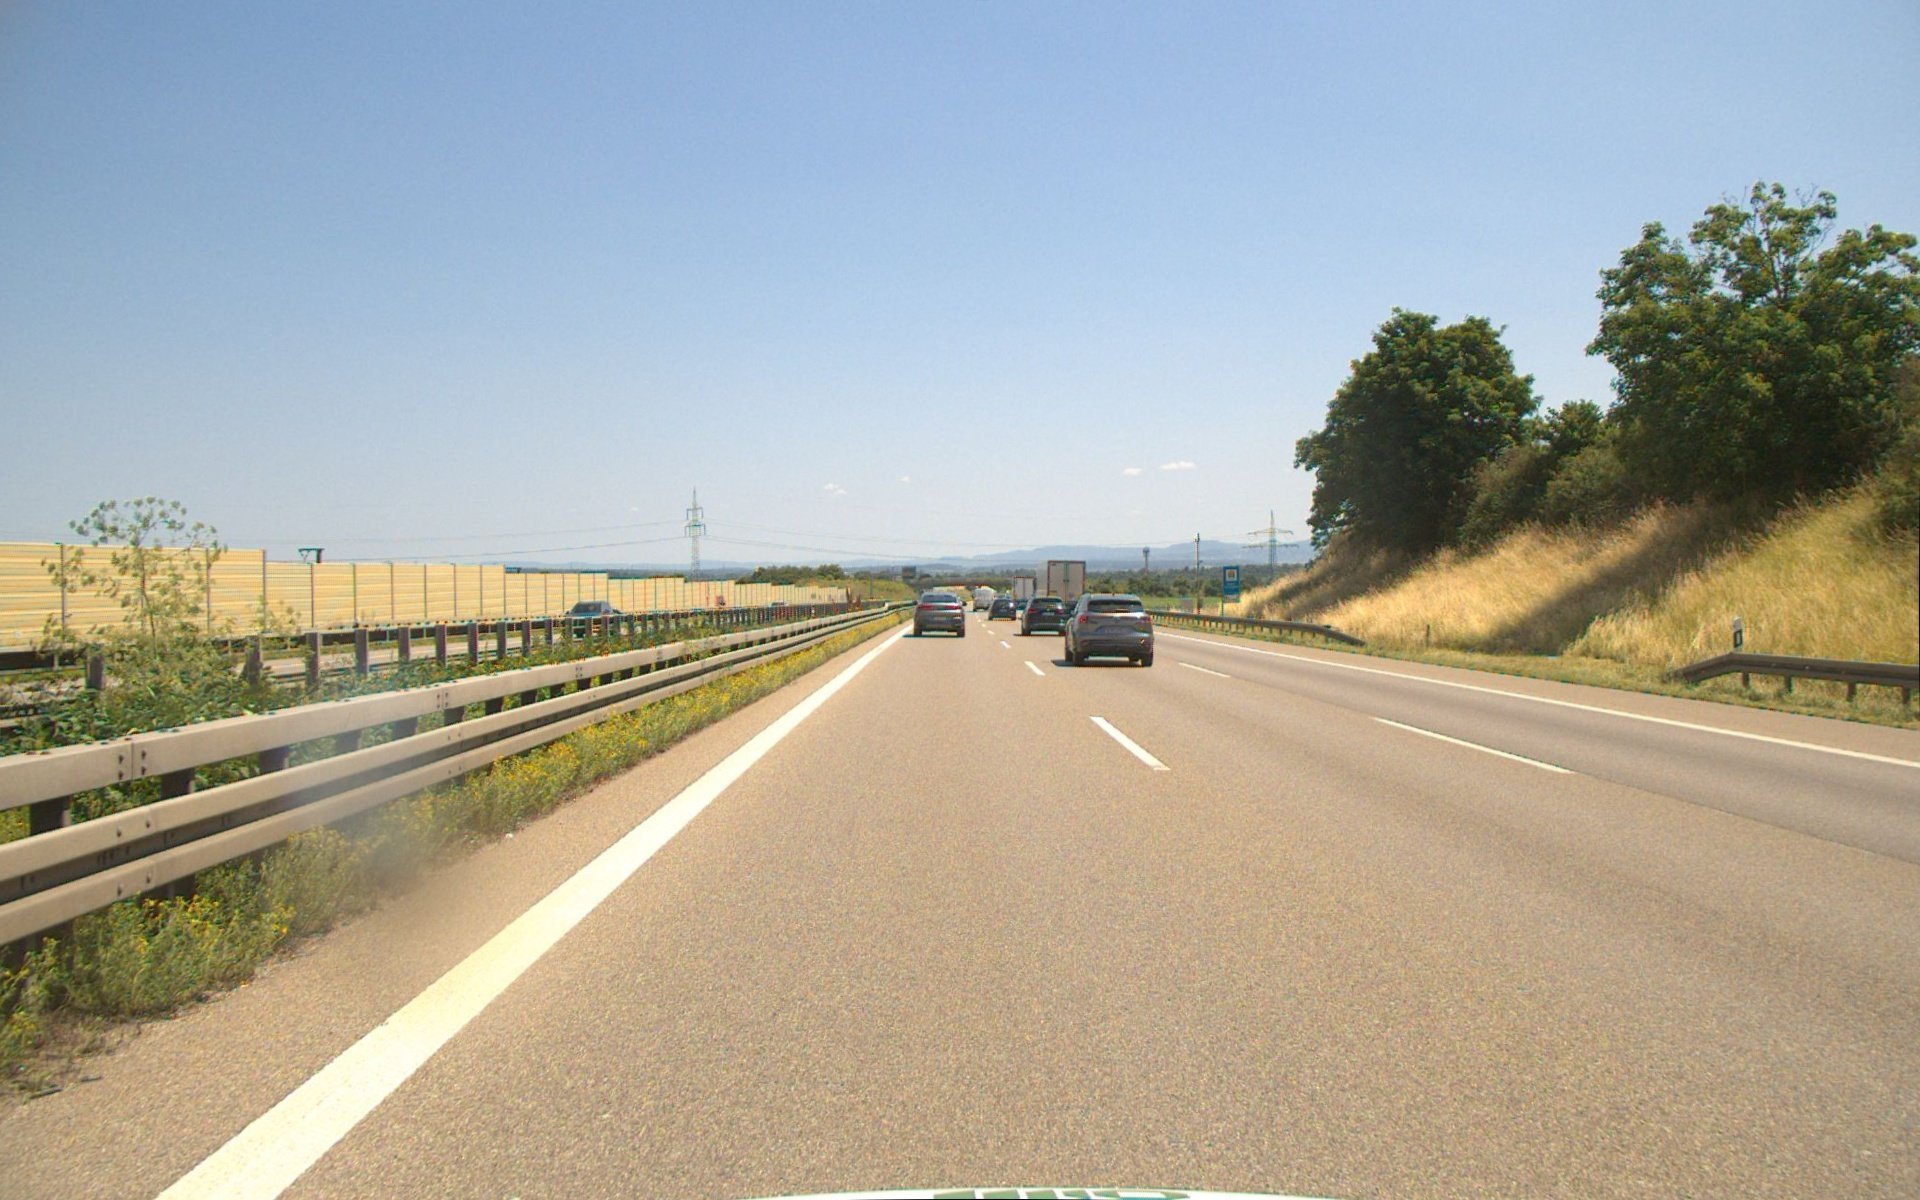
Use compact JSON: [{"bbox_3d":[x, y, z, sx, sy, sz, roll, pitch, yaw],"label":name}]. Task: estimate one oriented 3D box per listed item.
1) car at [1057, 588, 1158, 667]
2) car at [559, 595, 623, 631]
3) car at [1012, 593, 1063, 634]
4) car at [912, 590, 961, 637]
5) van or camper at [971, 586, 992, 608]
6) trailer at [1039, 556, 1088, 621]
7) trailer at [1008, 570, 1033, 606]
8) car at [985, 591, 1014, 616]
[{"bbox_3d":[3.343,0.608,38.358,1.814,1.677,4.643,1,0,-1],"label":"car"},{"bbox_3d":[-17.366,0.585,78.033,1.858,1.597,5.246,-2,0,-1],"label":"car"},{"bbox_3d":[3.115,0.534,67.003,1.760,1.589,3.822,1,0,-1],"label":"car"},{"bbox_3d":[-0.907,0.496,63.023,1.814,1.693,3.734,1,0,-1],"label":"car"},{"bbox_3d":[2.273,-0.313,171.100,2.067,2.250,5.266,1,0,2],"label":"van or camper"},{"bbox_3d":[7.299,-0.728,117.926,2.808,4.294,13.295,1,0,1],"label":"trailer"},{"bbox_3d":[7.618,-1.451,209.492,2.882,4.271,13.599,1,0,2],"label":"trailer"},{"bbox_3d":[2.660,0.213,110.947,1.893,1.602,4.935,1,0,1],"label":"car"}]
